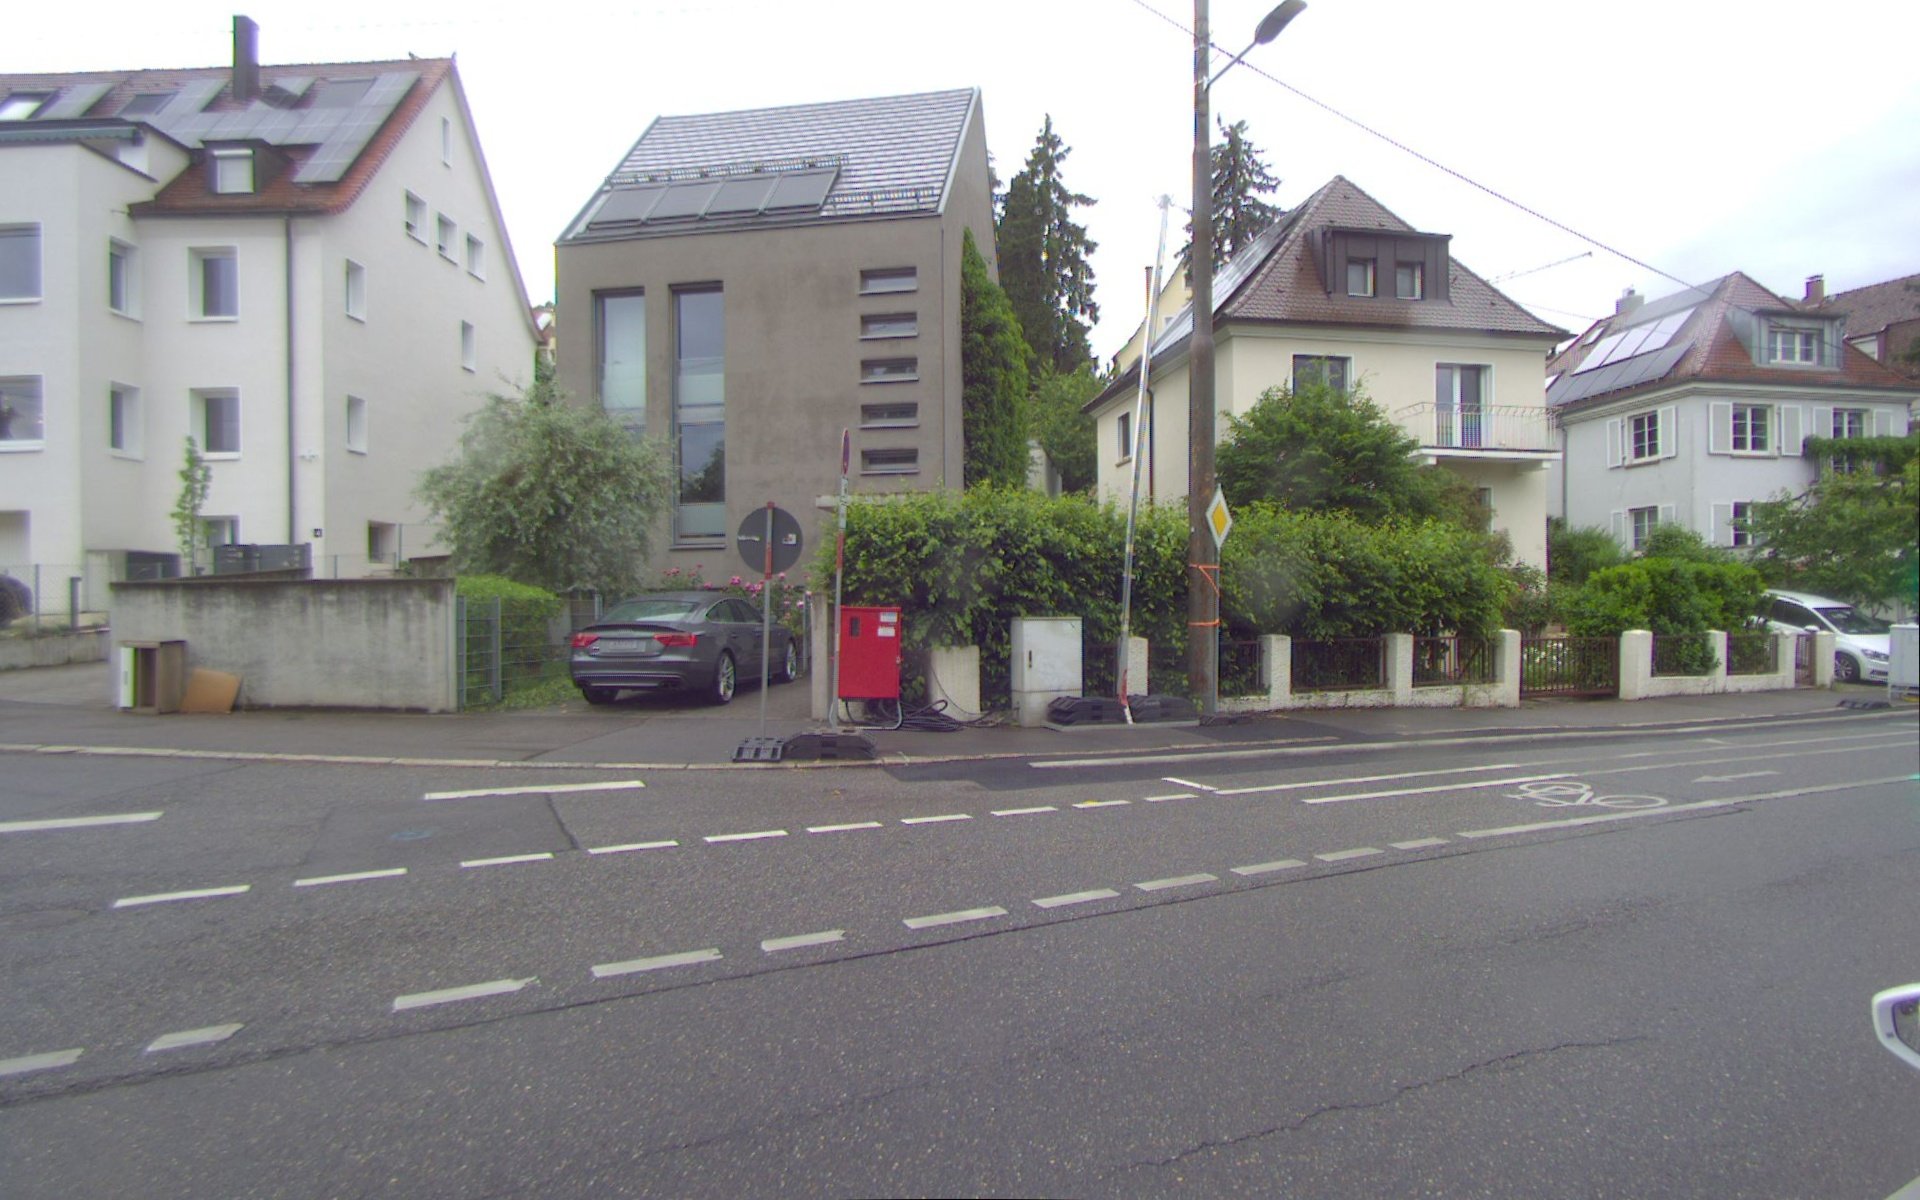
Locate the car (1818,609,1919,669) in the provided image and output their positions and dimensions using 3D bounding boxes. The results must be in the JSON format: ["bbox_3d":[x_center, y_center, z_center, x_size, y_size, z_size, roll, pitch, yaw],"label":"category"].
[{"bbox_3d":[25.910,1.054,26.950,1.909,1.546,3.986,2,0,-16],"label":"car"}]

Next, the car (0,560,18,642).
[{"bbox_3d":[-16.841,0.088,15.084,1.536,1.350,3.923,1,3,3],"label":"car"}]

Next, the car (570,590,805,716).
[{"bbox_3d":[-3.479,0.585,13.698,1.581,1.387,4.265,0,1,7],"label":"car"}]

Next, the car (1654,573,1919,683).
[{"bbox_3d":[19.537,0.538,23.807,1.833,1.639,4.960,0,10,-15],"label":"car"}]
